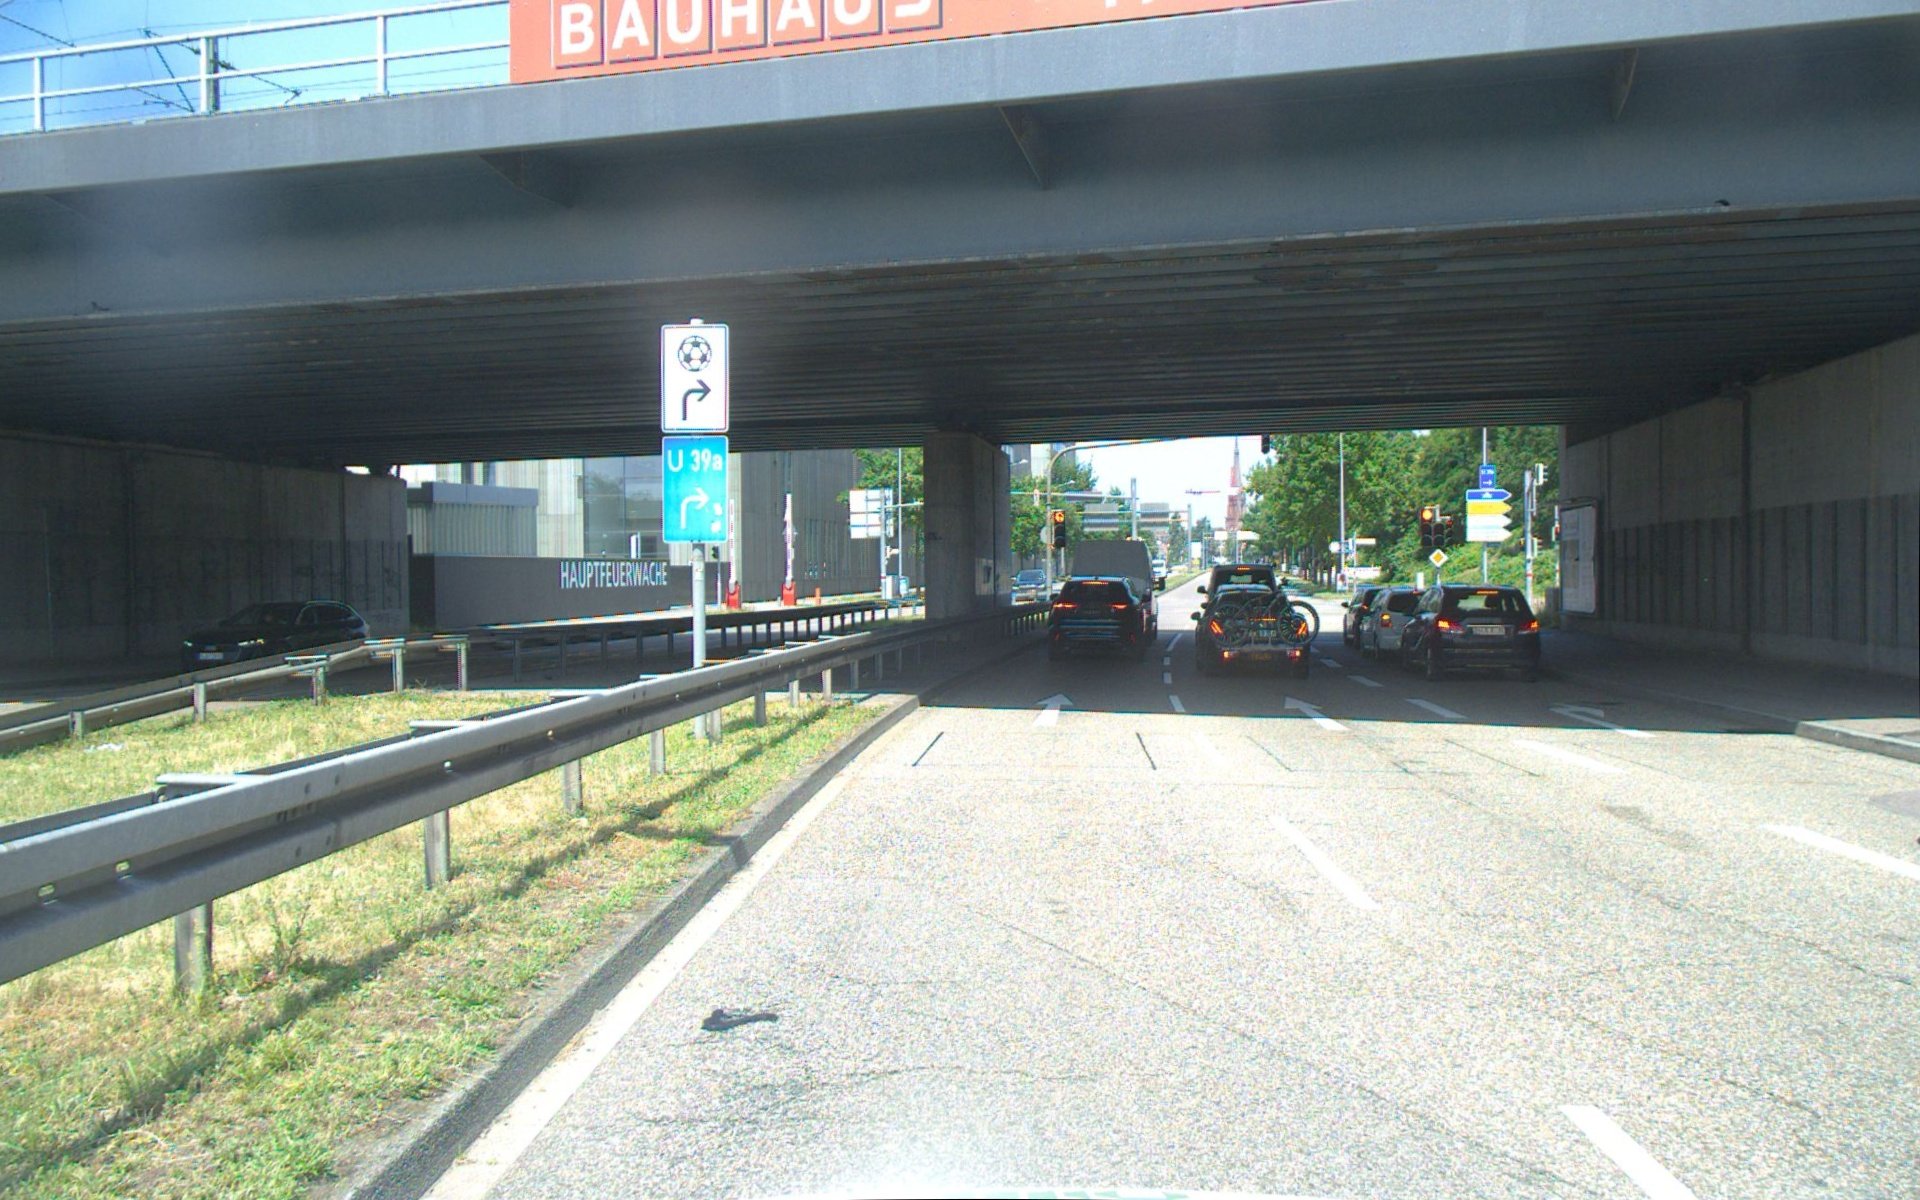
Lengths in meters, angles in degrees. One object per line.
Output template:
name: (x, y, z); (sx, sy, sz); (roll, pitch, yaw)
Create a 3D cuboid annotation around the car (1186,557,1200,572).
car: (34.409, -5.197, 243.948); (1.951, 2.049, 4.003); (0, 0, 6)

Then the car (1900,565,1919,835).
car: (6.599, 0.642, 8.124); (1.730, 1.627, 4.079); (1, 1, 2)

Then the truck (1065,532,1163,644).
truck: (3.888, -0.299, 41.199); (2.023, 2.582, 4.004); (-2, 0, 10)

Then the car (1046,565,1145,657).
car: (2.829, 0.213, 33.815); (1.899, 1.751, 4.003); (0, 0, 6)

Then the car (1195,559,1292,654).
car: (6.030, 0.135, 35.578); (1.801, 1.923, 4.003); (0, 0, 6)

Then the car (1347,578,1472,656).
car: (9.247, 0.323, 34.301); (1.864, 1.514, 4.003); (0, 0, 6)

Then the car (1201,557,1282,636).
car: (7.227, -0.085, 42.763); (1.801, 1.923, 4.003); (0, 0, 6)

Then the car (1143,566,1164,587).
car: (19.899, -2.390, 170.187); (1.951, 2.049, 4.003); (-3, 0, 9)

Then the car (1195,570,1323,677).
car: (4.973, 0.348, 28.006); (1.915, 1.662, 4.283); (0, 0, 7)

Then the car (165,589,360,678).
car: (-13.765, 0.623, 32.910); (1.815, 1.651, 4.003); (0, 0, 7)

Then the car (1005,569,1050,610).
car: (3.668, -0.572, 89.435); (1.951, 2.049, 4.003); (-3, 0, 8)

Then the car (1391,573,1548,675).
car: (8.526, 0.381, 27.998); (1.801, 1.596, 4.003); (0, 0, 6)
